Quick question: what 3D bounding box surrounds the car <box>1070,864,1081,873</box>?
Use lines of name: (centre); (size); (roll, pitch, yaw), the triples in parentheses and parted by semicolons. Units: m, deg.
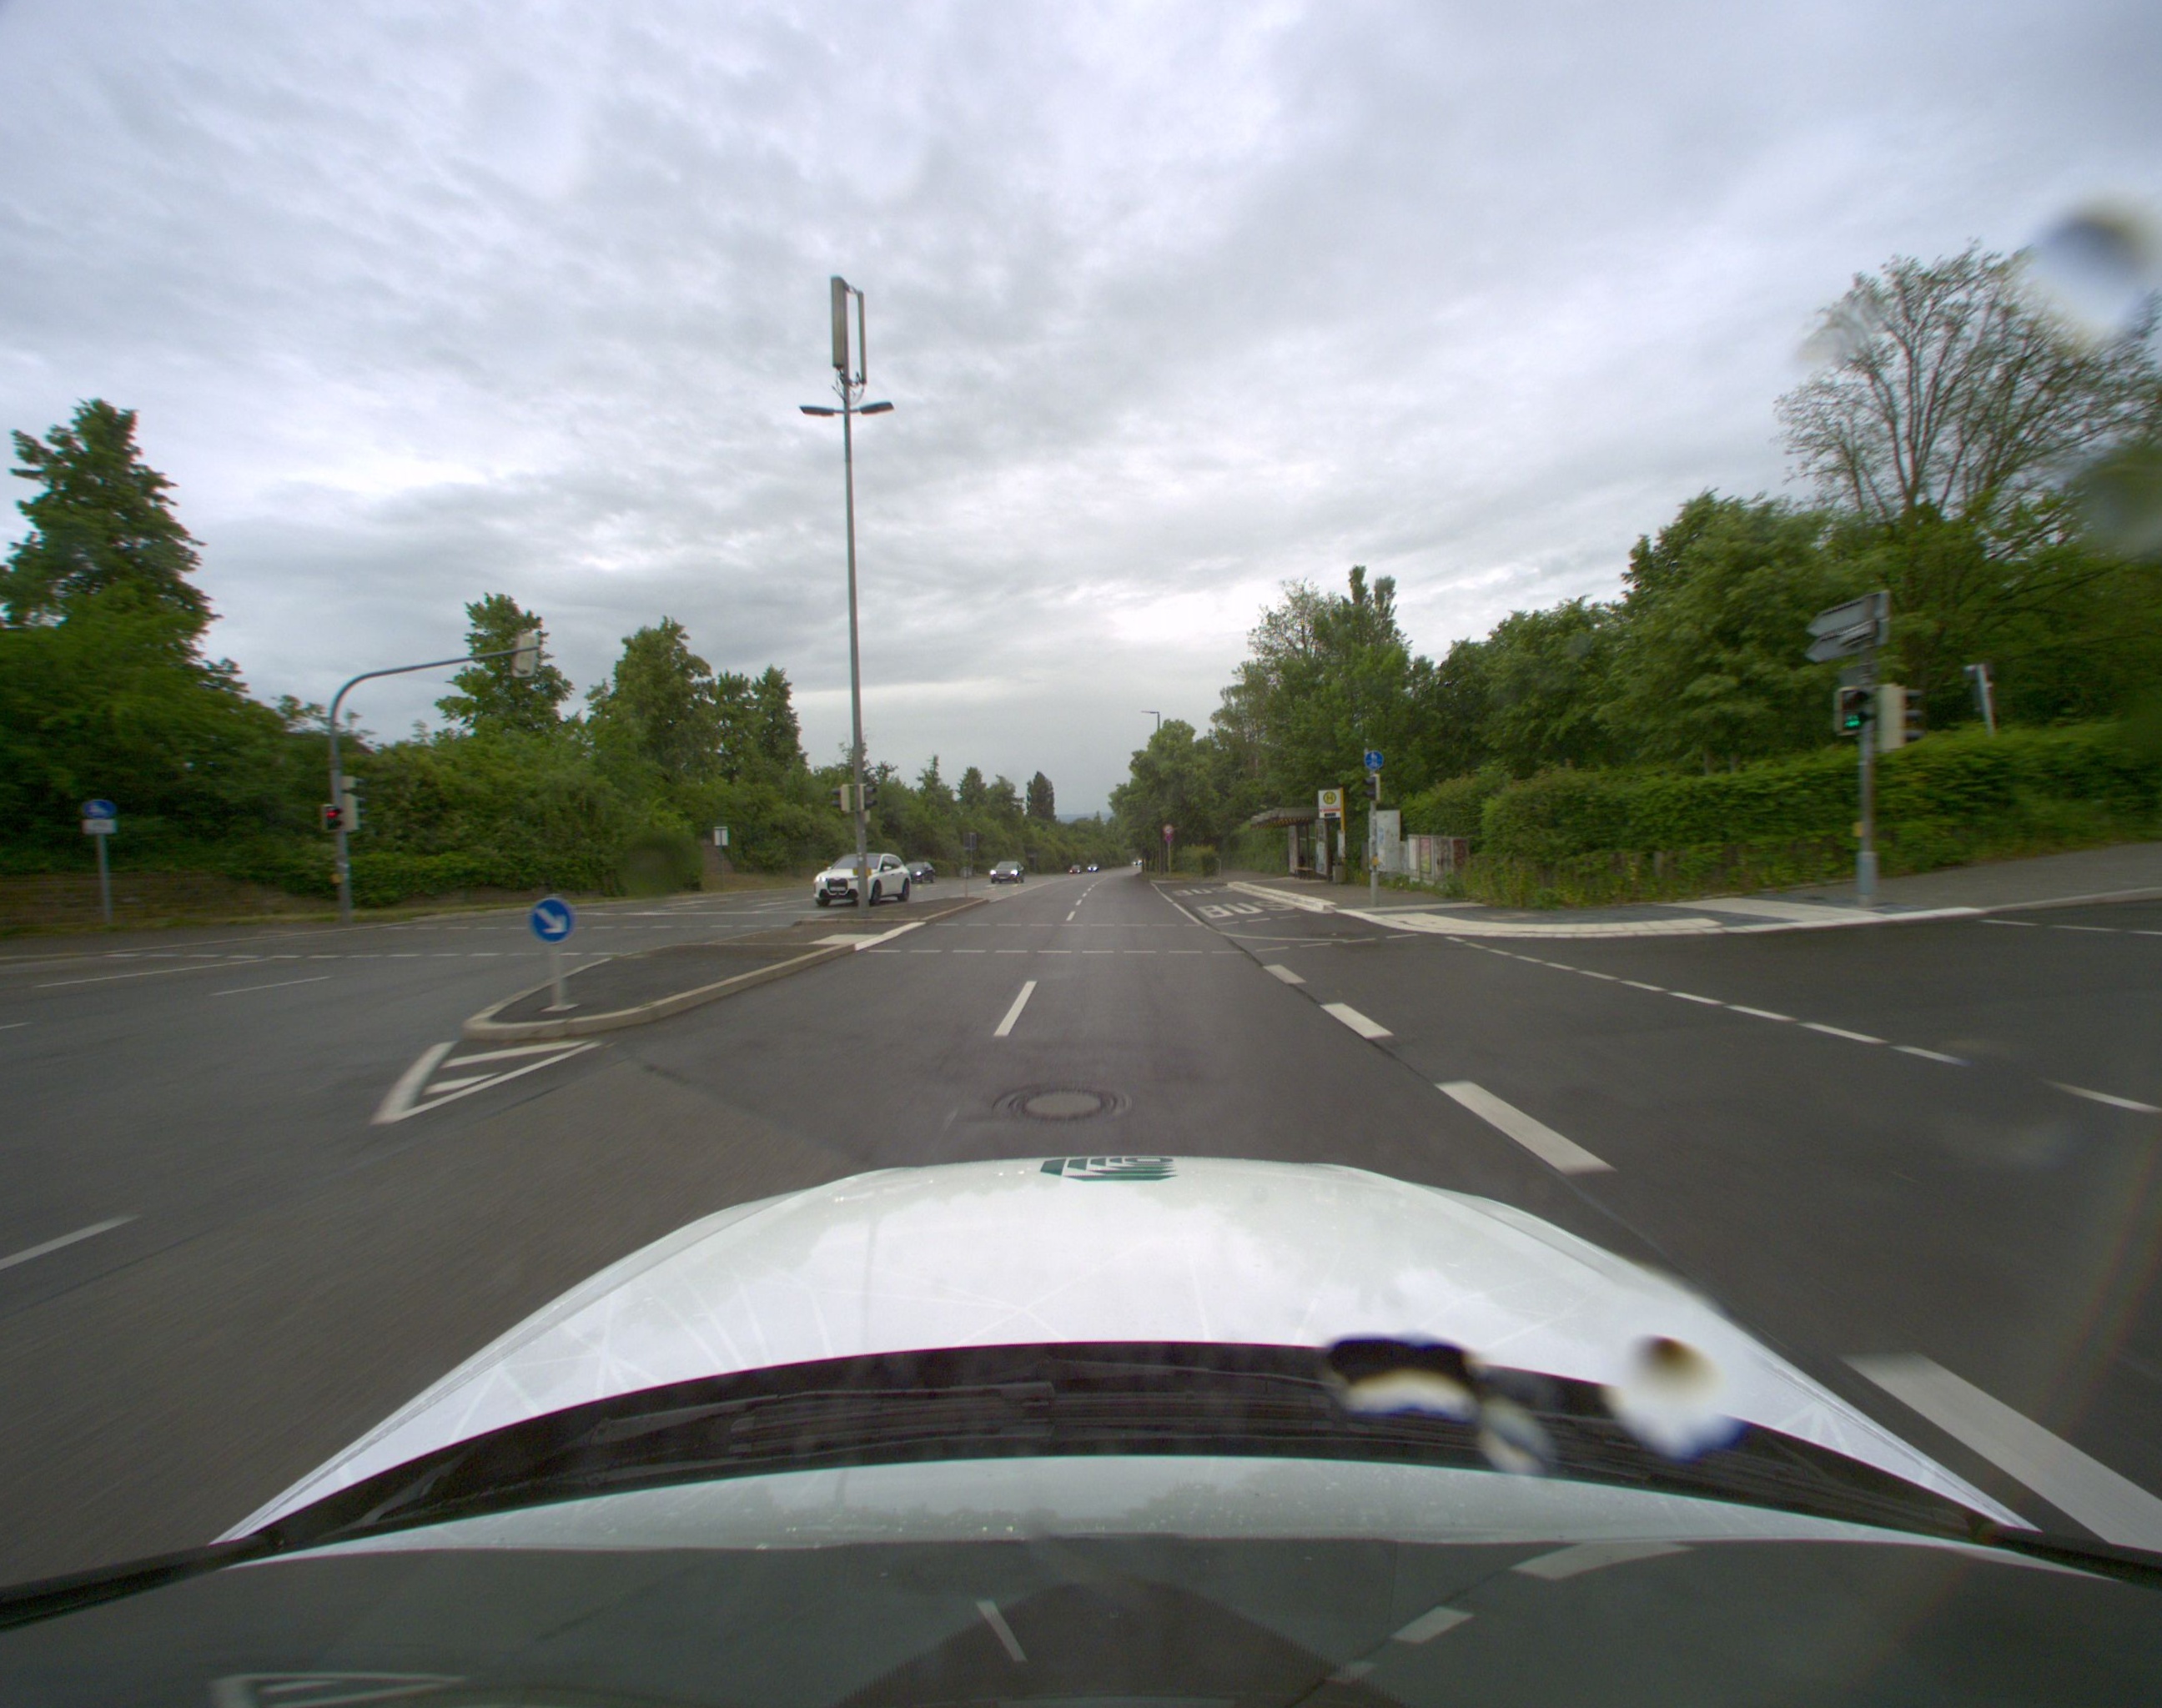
car: (-0.904, 2.501, 140.036); (1.718, 1.565, 3.896); (1, -1, 3)

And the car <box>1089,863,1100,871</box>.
car: (2.785, 2.653, 161.991); (1.855, 1.589, 3.898); (1, -1, 5)

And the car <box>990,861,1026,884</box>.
car: (-4.924, 1.239, 55.397); (1.770, 1.472, 4.649); (-1, 0, 4)

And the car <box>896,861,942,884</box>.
car: (-10.854, 1.241, 54.914); (1.811, 1.437, 4.460); (-1, 0, 5)

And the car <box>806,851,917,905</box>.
car: (-7.284, 0.732, 27.638); (1.935, 1.635, 5.013); (-1, 0, 6)

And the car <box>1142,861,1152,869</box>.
car: (14.782, 2.402, 182.715); (1.933, 1.591, 3.937); (-1, 0, 9)
